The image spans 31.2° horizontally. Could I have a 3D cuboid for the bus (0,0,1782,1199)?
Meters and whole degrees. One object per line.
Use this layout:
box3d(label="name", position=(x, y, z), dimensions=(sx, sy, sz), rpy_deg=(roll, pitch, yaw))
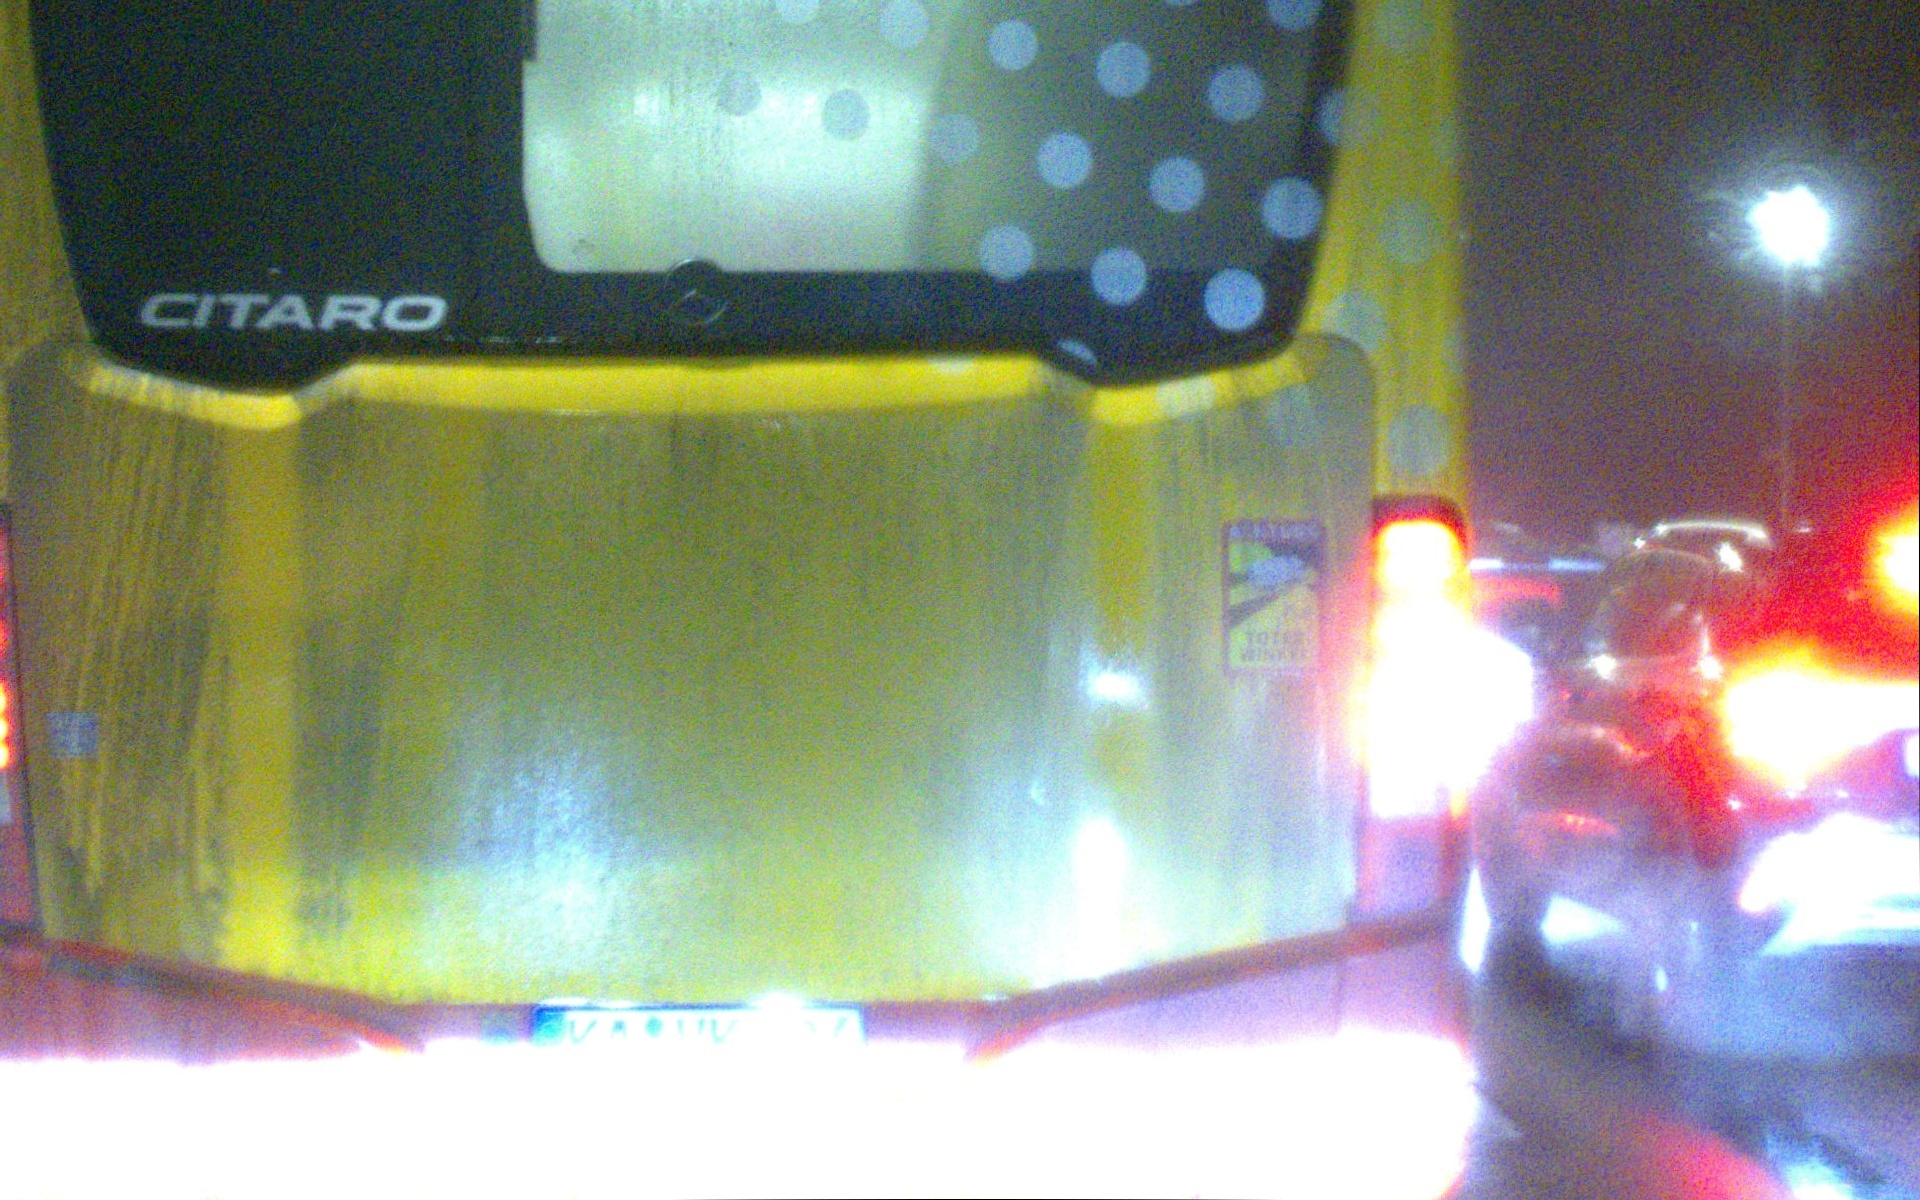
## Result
box3d(label="bus", position=(-0.611, -0.313, 9.808), dimensions=(3.285, 3.039, 9.546), rpy_deg=(0, 2, -2))

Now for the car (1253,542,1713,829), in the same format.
box3d(label="car", position=(2.609, 0.369, 18.011), dimensions=(1.686, 1.326, 3.961), rpy_deg=(-1, 1, -2))

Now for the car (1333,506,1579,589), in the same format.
box3d(label="car", position=(9.878, -1.055, 68.581), dimensions=(4.482, 1.513, 1.858), rpy_deg=(1, 3, -8))

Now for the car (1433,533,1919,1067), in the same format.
box3d(label="car", position=(2.846, 0.557, 11.806), dimensions=(1.677, 1.516, 3.961), rpy_deg=(1, 1, -3))

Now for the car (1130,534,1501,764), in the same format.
box3d(label="car", position=(2.360, 0.291, 23.865), dimensions=(1.993, 1.436, 4.000), rpy_deg=(1, 1, -2))
